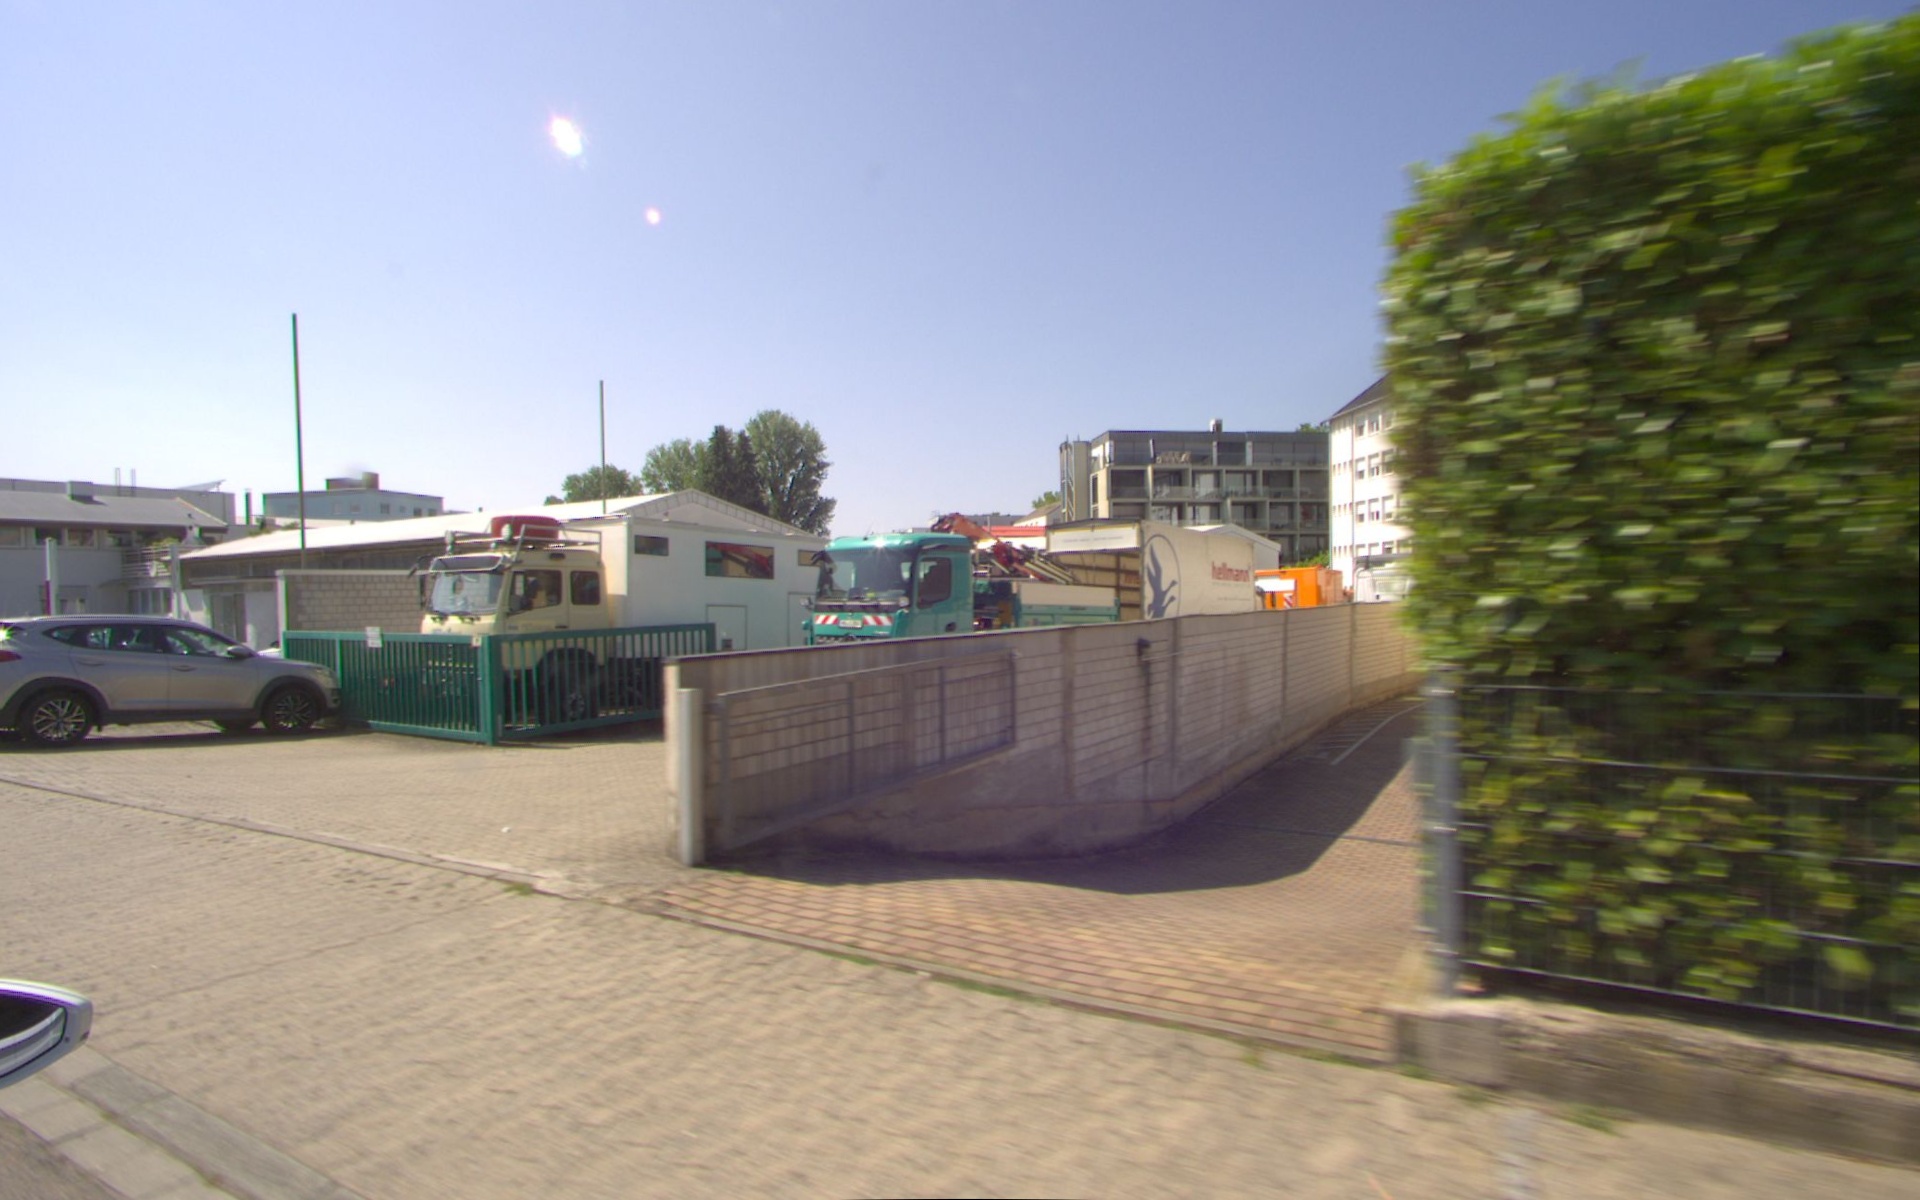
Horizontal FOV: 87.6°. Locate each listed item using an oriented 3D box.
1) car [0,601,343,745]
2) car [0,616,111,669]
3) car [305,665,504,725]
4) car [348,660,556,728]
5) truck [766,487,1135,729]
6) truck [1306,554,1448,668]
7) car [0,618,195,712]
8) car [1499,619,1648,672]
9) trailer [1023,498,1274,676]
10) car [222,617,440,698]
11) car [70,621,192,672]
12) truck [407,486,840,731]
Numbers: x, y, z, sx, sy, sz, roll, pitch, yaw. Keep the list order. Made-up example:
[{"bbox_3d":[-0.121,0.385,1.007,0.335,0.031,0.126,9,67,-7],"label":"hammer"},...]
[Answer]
[{"bbox_3d":[-11.188,1.017,13.826,1.741,1.702,4.198,-2,-5,31],"label":"car"},{"bbox_3d":[-29.225,1.335,31.723,4.078,1.516,1.760,-2,1,21],"label":"car"},{"bbox_3d":[-9.901,1.660,18.009,1.269,0.926,2.892,-1,-3,32],"label":"car"},{"bbox_3d":[-8.496,1.532,16.919,1.269,1.016,2.892,-1,-3,32],"label":"car"},{"bbox_3d":[0.296,0.157,19.378,2.913,3.658,8.253,-1,-1,34],"label":"truck"},{"bbox_3d":[13.585,0.436,32.714,3.950,3.521,1.853,-2,-3,37],"label":"truck"},{"bbox_3d":[-16.120,1.111,17.204,1.865,1.460,4.344,-2,0,31],"label":"car"},{"bbox_3d":[19.644,1.440,32.115,3.946,1.595,1.923,-1,-1,35],"label":"car"},{"bbox_3d":[5.234,-0.283,26.228,3.029,3.913,8.303,-2,0,37],"label":"trailer"},{"bbox_3d":[-12.902,1.142,20.499,4.388,1.460,1.884,-2,0,29],"label":"car"},{"bbox_3d":[-23.770,1.302,28.668,4.045,1.342,1.637,-1,0,35],"label":"car"},{"bbox_3d":[-5.497,0.327,17.996,2.491,3.465,7.509,-1,-3,32],"label":"truck"}]
